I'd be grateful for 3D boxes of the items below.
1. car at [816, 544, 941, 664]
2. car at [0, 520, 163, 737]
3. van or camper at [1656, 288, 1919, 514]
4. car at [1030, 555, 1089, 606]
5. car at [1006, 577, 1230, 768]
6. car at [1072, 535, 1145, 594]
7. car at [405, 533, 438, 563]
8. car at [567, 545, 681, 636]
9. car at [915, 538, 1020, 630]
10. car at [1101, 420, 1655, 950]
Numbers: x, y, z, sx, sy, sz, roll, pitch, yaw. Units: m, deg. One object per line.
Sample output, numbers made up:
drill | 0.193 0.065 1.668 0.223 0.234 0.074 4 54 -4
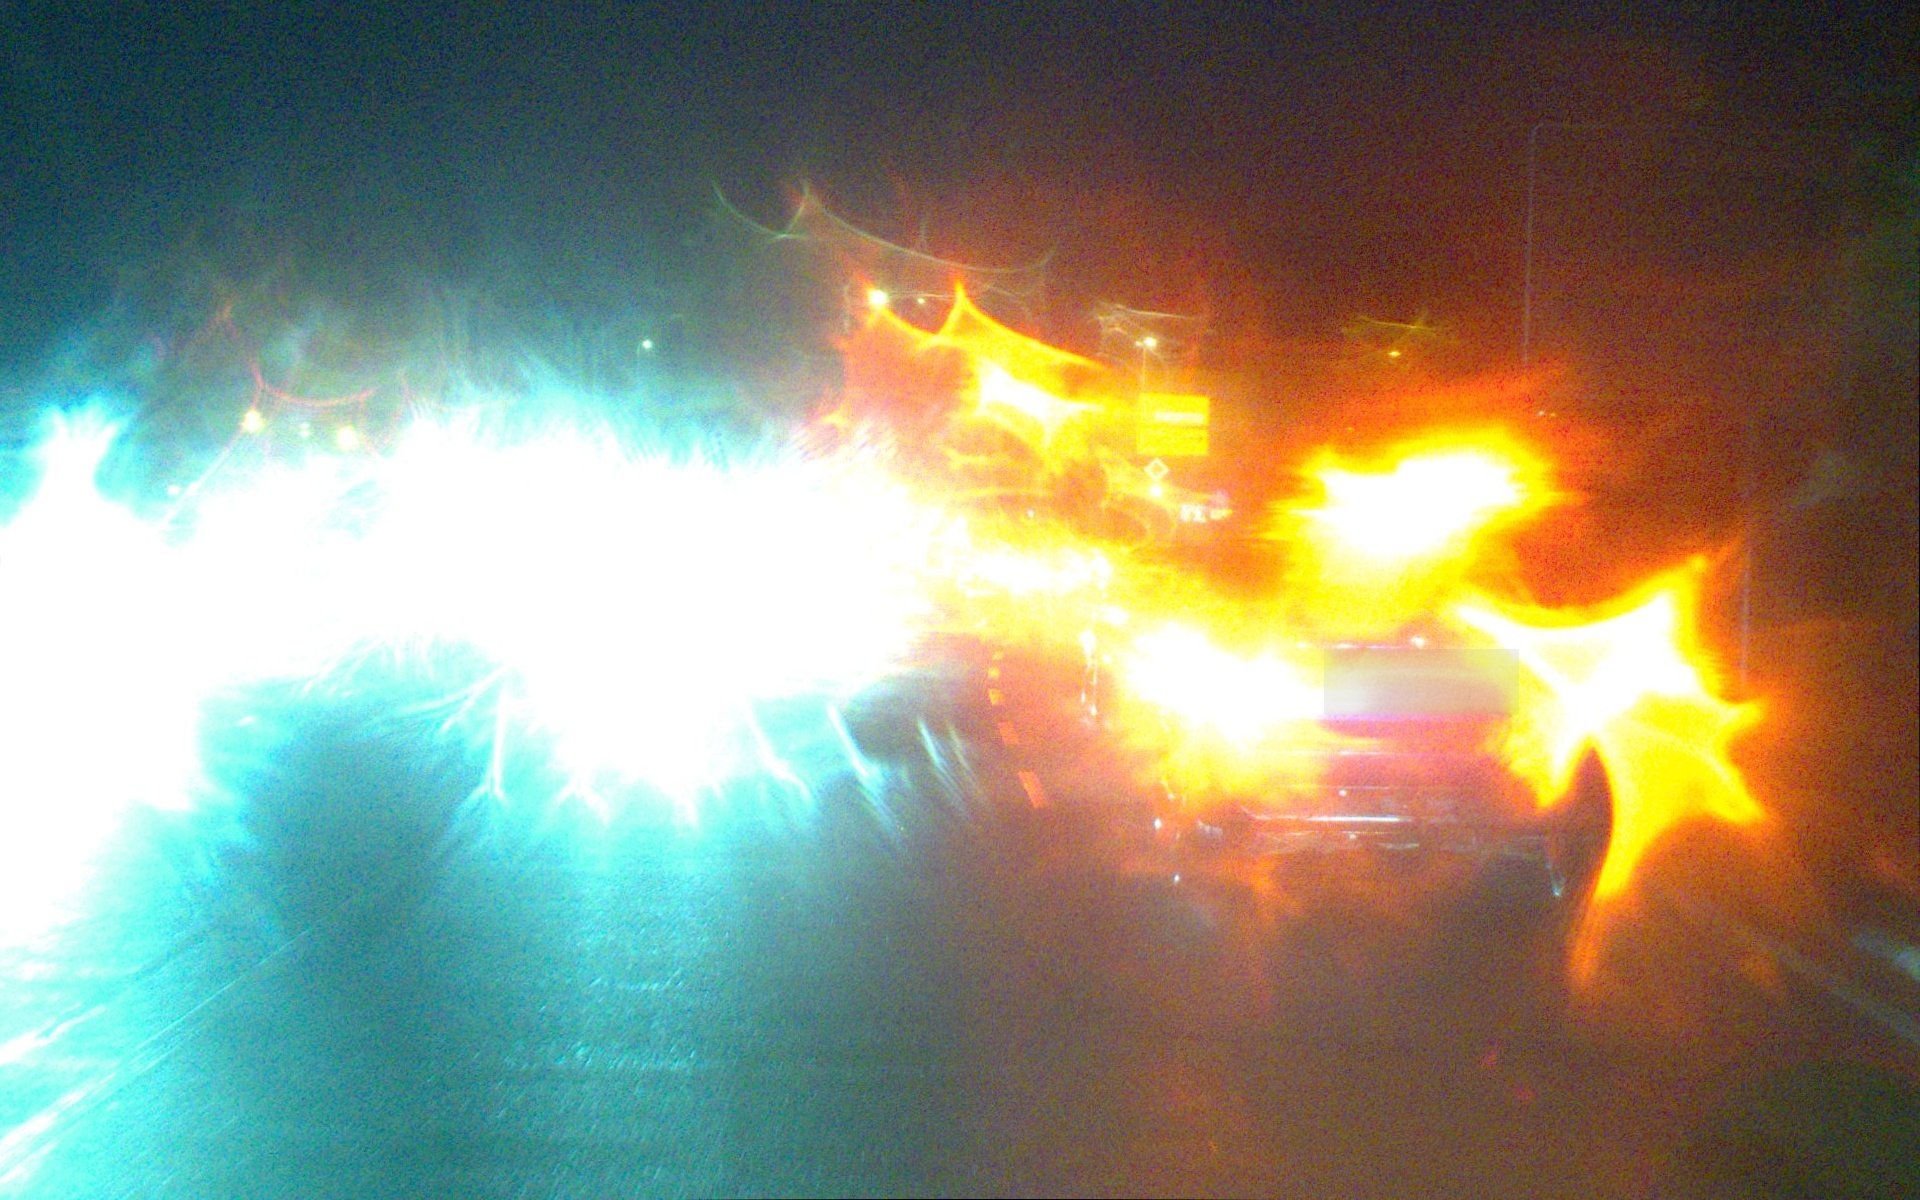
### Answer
car | -1.139 0.042 49.521 1.694 1.624 3.853 1 0 0
car | -7.246 0.132 25.111 1.918 1.439 4.546 1 1 -2
van or camper | 12.505 -2.691 48.442 2.579 2.898 6.361 0 1 -17
car | 2.943 -0.577 100.934 1.663 1.445 4.049 1 0 2
car | 1.377 0.567 29.631 1.768 1.445 4.218 1 1 3
car | 3.785 -0.886 87.160 1.663 1.445 4.049 0 0 5
car | -34.114 -3.298 217.950 1.993 1.905 4.744 1 1 -8
car | -5.728 -0.194 58.993 1.694 1.429 4.294 1 1 -2
car | 0.168 -0.316 63.567 1.709 1.632 3.730 -1 1 3
car | 1.654 0.277 15.034 1.942 1.965 4.218 1 1 1
